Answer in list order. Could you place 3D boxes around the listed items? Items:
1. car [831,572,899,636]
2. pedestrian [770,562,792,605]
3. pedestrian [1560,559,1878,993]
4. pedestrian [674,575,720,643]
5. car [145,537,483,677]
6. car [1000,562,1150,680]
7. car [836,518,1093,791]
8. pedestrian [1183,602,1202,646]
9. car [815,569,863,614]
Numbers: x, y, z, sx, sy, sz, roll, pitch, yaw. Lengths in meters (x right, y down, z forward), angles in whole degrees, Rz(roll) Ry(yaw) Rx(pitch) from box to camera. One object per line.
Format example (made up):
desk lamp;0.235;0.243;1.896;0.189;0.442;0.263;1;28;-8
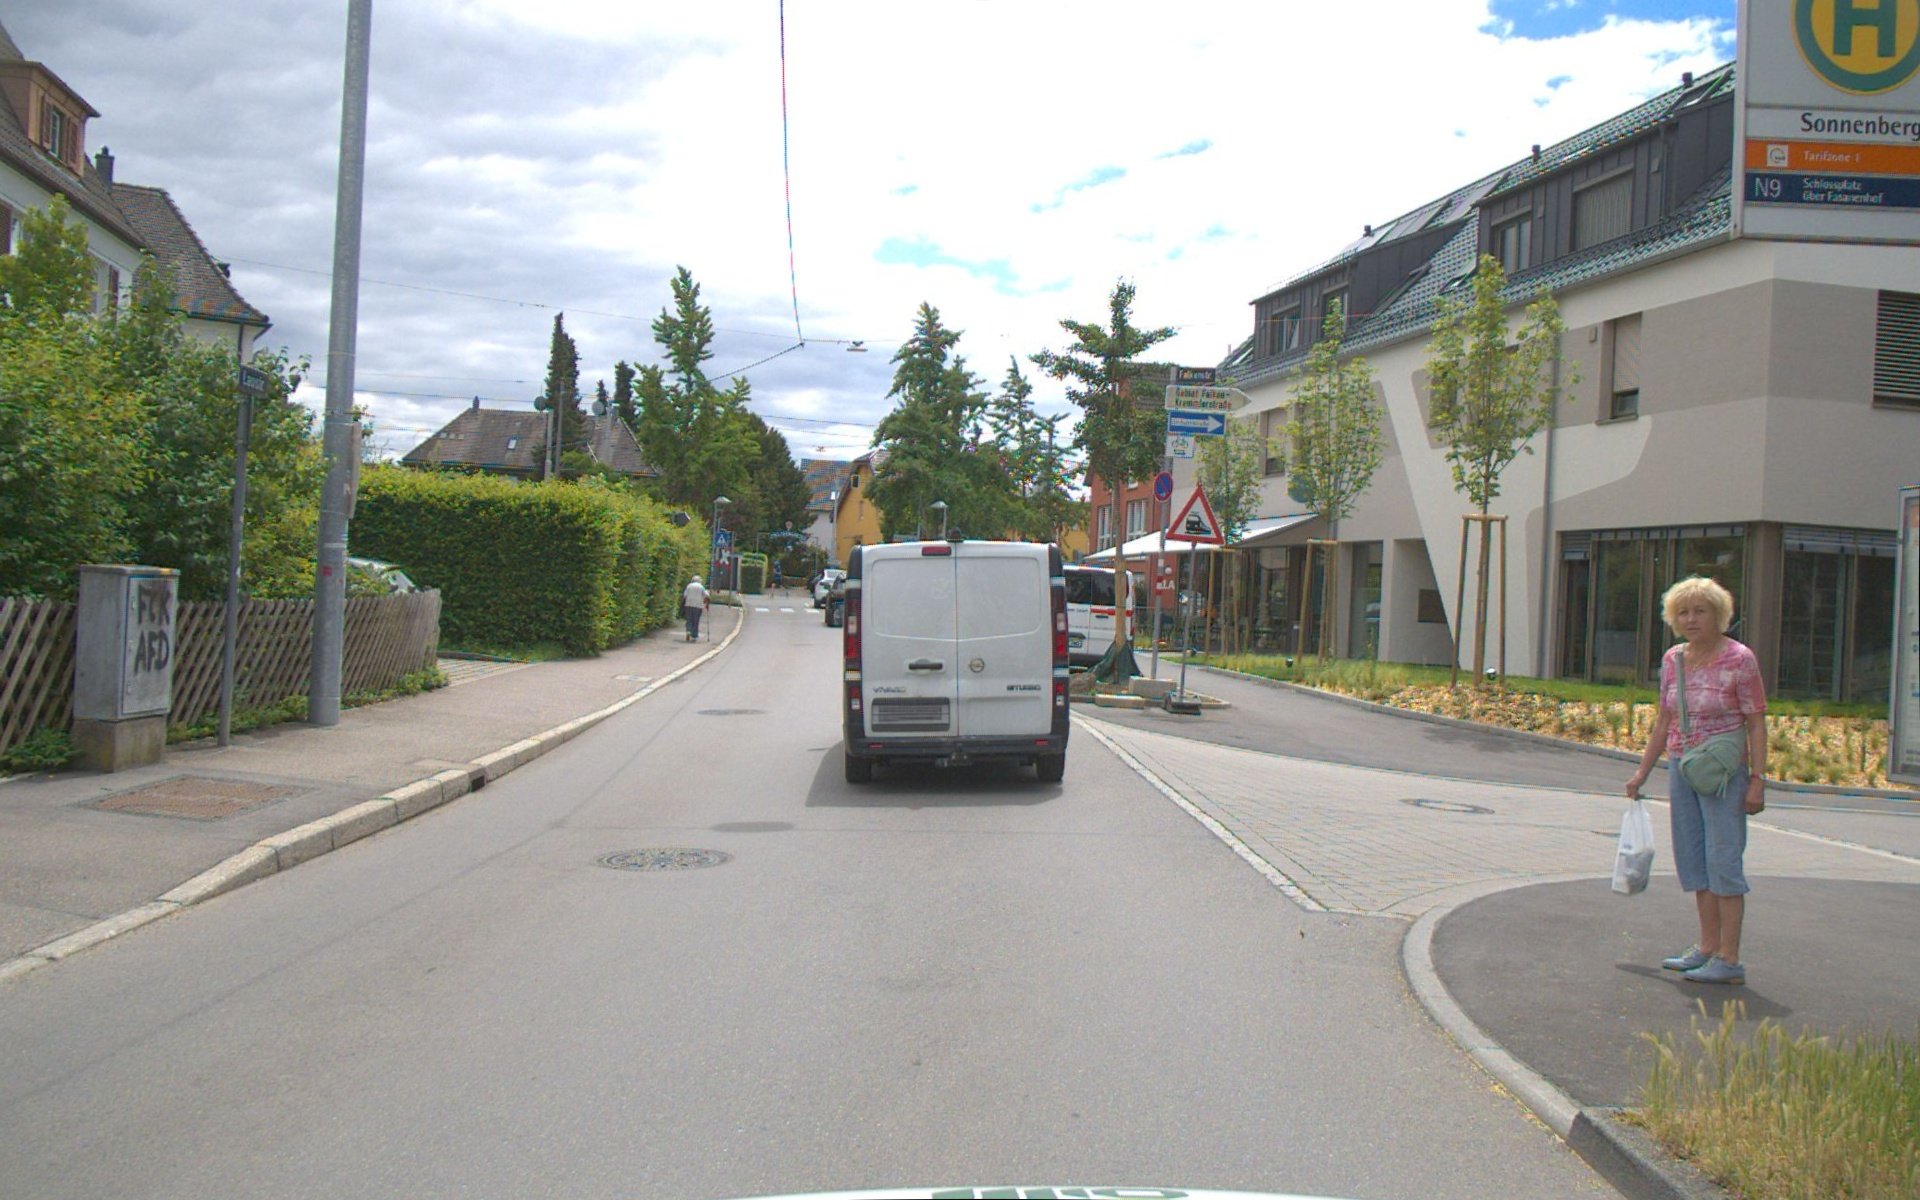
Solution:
car;-3.029;0.129;52.058;1.955;1.880;3.996;2;0;-5
pedestrian;-8.799;-0.833;81.382;0.819;2.048;0.677;5;-1;-15
pedestrian;3.200;0.709;7.064;0.863;1.674;0.857;4;-1;1
pedestrian;-6.120;0.214;38.456;0.865;1.511;0.452;5;-1;-25
car;-8.314;0.094;21.560;3.599;1.459;1.816;5;-1;-3
car;2.092;0.376;31.649;1.921;1.949;4.895;4;-1;-6
car;-0.124;0.445;14.869;1.878;2.038;4.433;2;-1;-5
pedestrian;6.542;0.675;46.561;0.413;1.202;0.323;2;-1;-7
car;-5.170;-0.347;70.347;1.955;1.813;3.996;1;0;-5
